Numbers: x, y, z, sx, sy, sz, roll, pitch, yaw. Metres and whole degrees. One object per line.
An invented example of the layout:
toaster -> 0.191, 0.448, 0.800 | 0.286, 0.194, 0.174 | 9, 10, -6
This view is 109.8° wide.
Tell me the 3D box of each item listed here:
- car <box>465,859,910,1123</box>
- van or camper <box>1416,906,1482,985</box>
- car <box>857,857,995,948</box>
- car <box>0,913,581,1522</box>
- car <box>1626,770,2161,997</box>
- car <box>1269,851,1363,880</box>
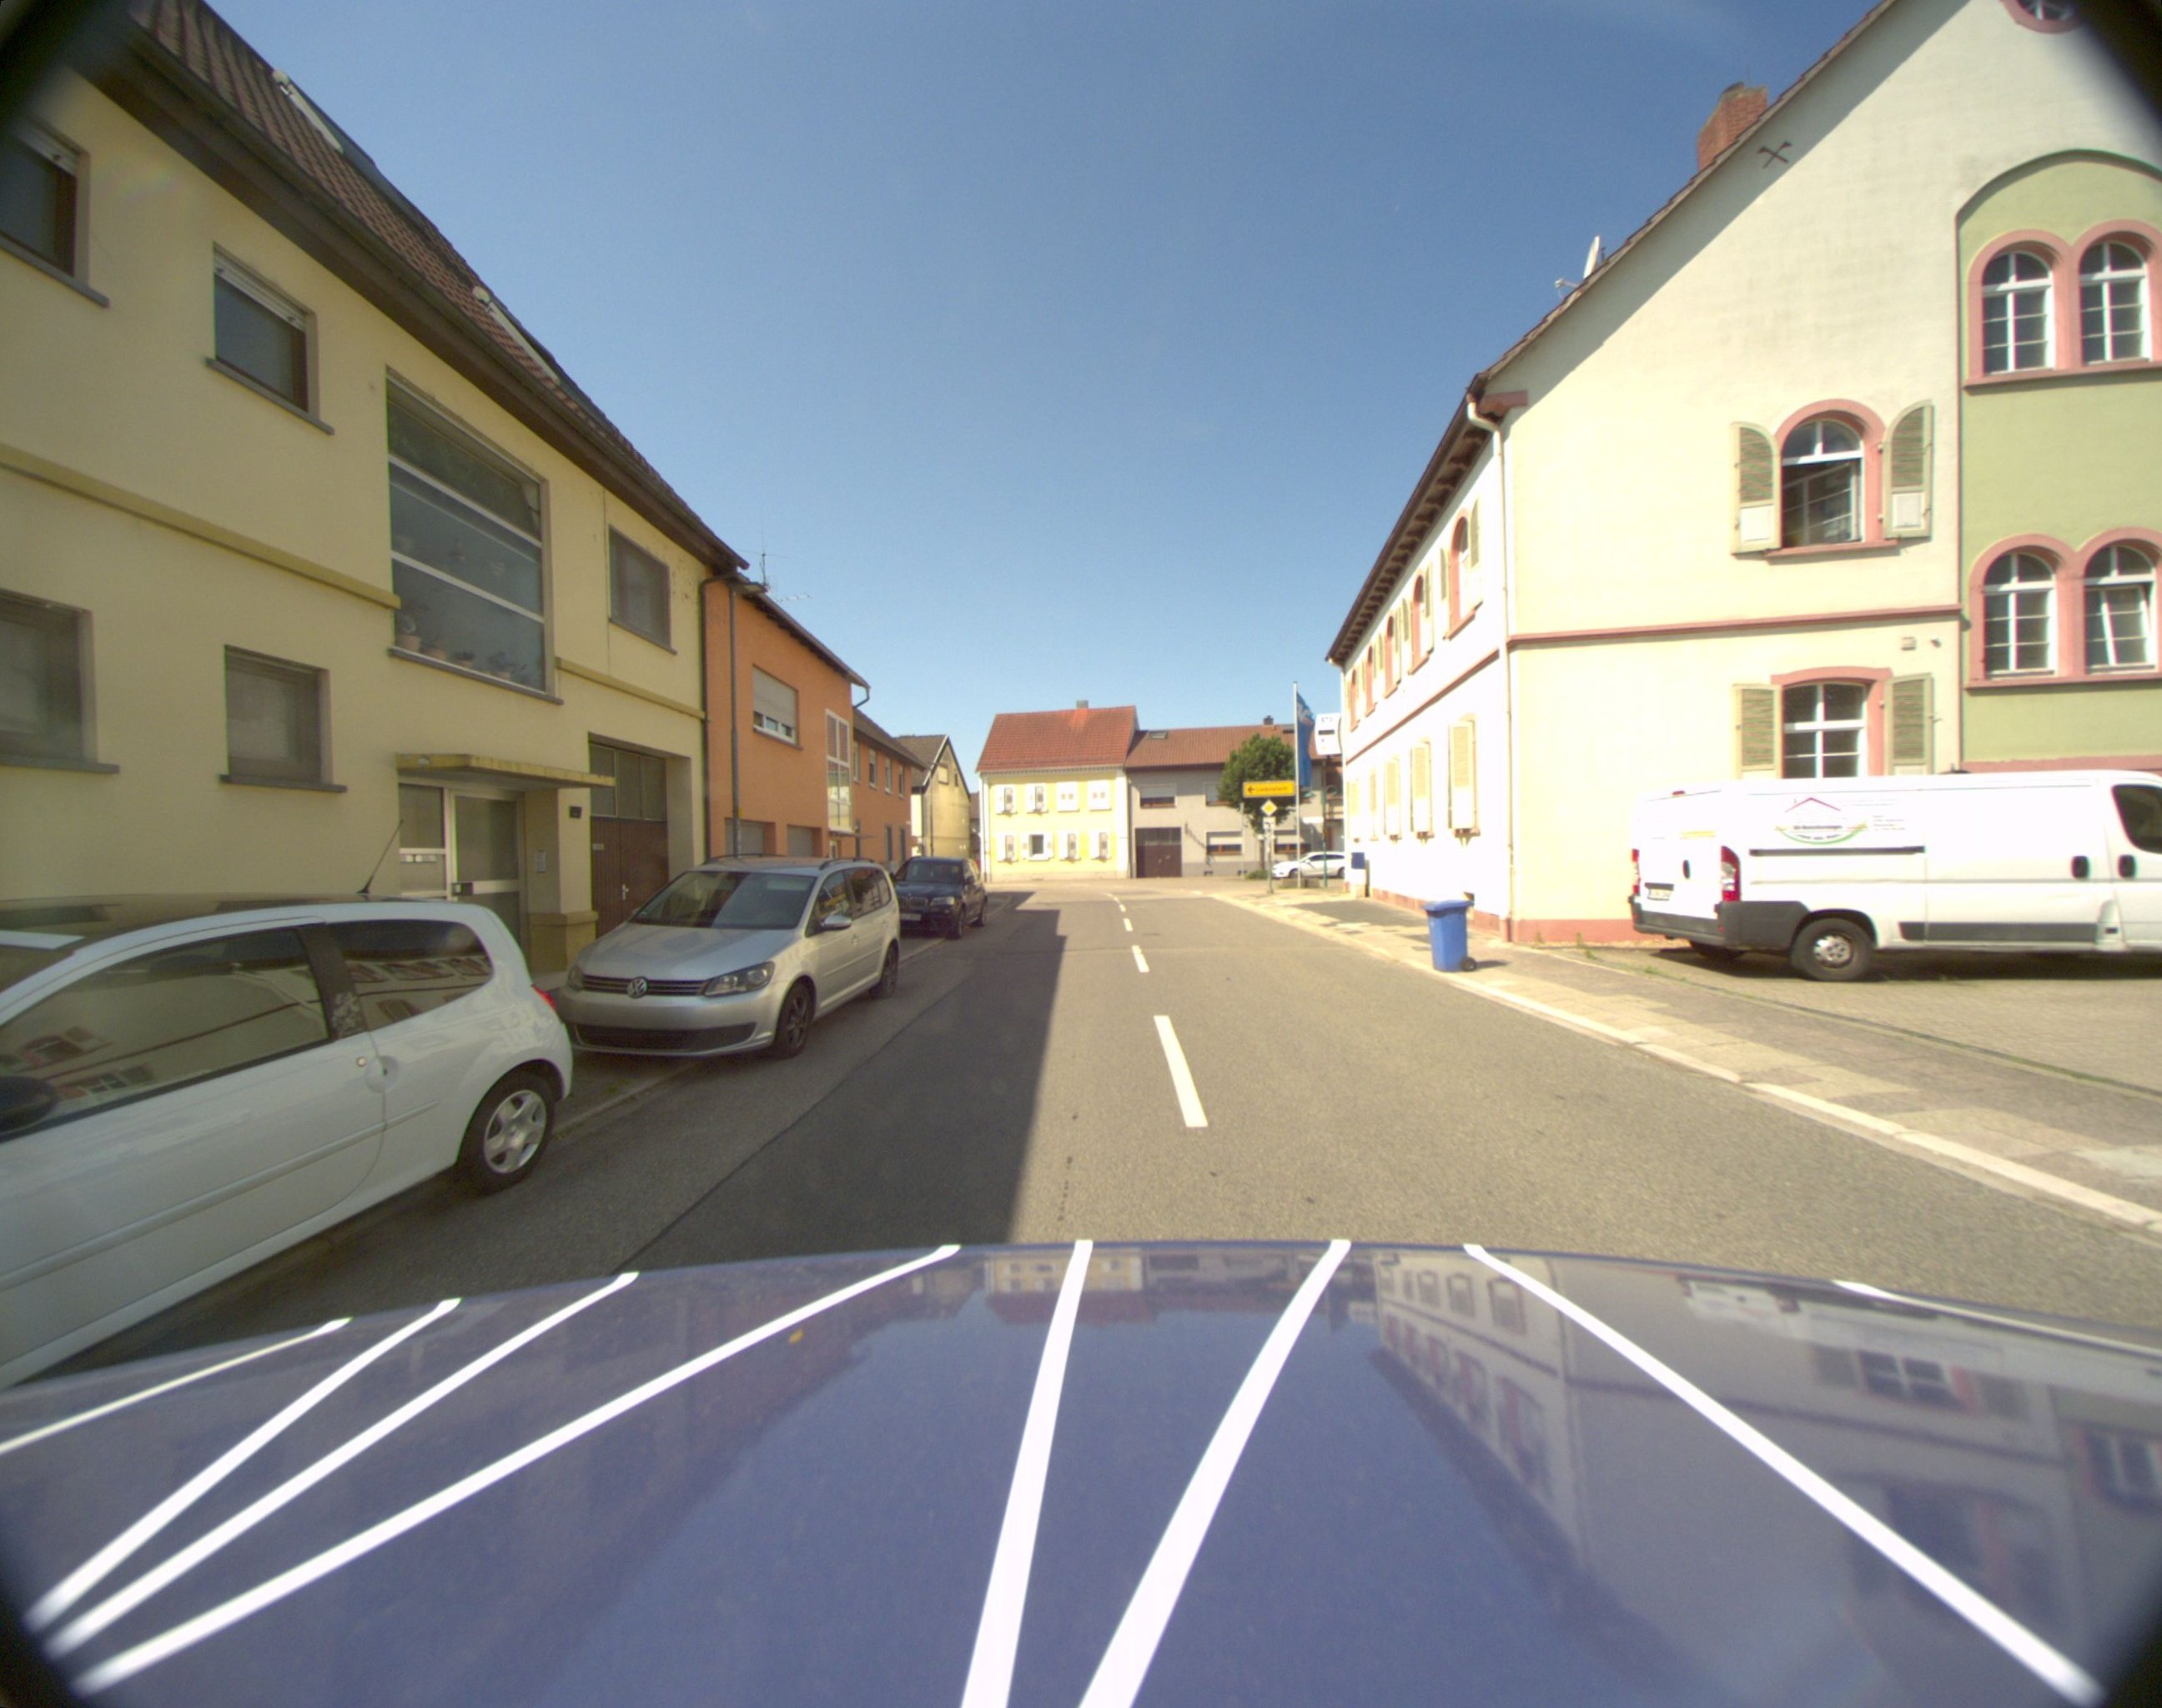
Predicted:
car -> -3.176, 0.956, 7.317 | 1.903, 1.718, 4.249 | -2, 0, 2
van or camper -> 4.746, 1.174, 9.837 | 0.590, 0.946, 0.600 | -2, 1, 7
car -> -3.271, 0.946, 17.192 | 1.848, 1.692, 5.181 | -1, 0, 2
car -> -3.618, 1.049, 2.368 | 1.554, 1.430, 3.721 | 0, 0, 2
car -> 9.610, 0.315, 8.551 | 5.184, 2.184, 2.124 | -2, 0, 12
car -> 12.847, 0.640, 41.708 | 4.510, 1.432, 1.855 | -2, 0, -2
